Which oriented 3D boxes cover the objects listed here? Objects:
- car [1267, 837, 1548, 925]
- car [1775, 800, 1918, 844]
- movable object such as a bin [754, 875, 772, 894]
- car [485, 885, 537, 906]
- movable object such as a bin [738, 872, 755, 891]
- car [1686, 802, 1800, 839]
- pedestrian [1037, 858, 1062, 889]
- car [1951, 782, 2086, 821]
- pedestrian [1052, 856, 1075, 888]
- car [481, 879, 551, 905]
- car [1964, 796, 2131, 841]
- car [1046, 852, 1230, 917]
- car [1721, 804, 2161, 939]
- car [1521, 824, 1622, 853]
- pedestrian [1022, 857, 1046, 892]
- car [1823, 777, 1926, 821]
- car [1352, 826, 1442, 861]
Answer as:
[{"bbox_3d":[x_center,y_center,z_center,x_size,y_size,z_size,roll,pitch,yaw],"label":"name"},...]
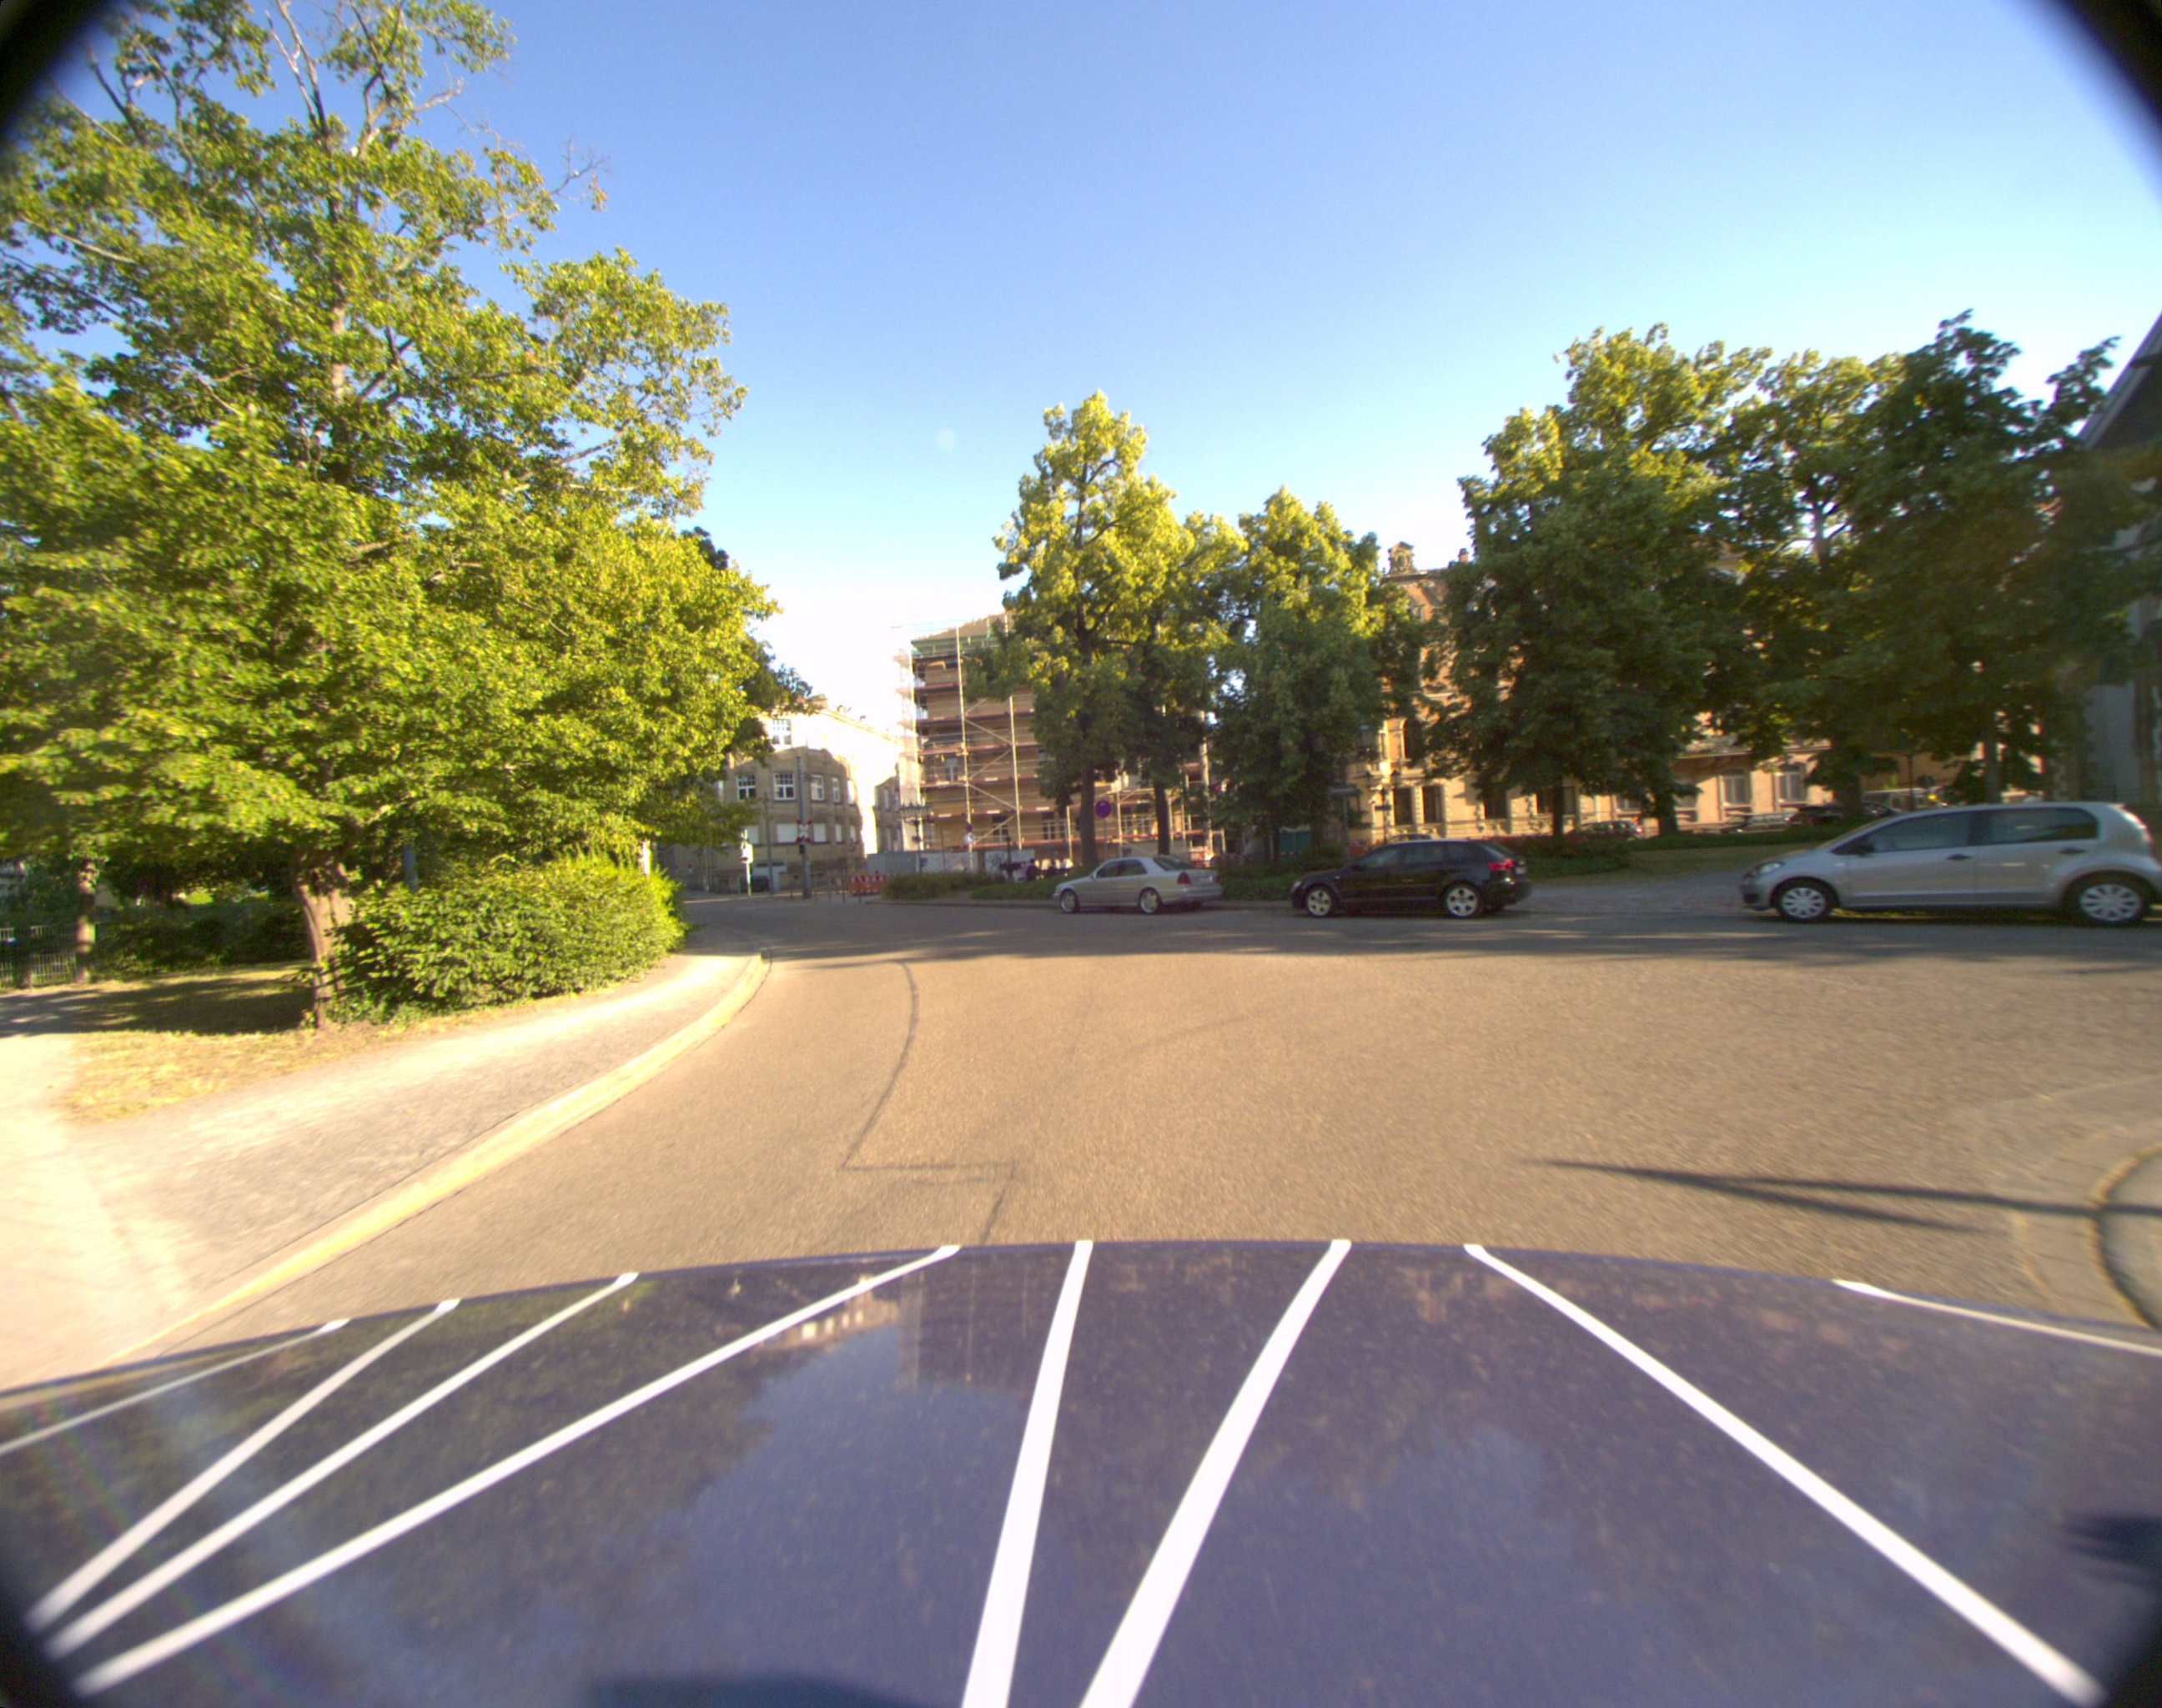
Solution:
[{"bbox_3d":[6.022,0.523,14.379,4.483,1.407,1.834,-3,-1,43],"label":"car"},{"bbox_3d":[33.946,-1.380,33.812,4.215,1.646,1.892,-3,1,5],"label":"car"},{"bbox_3d":[-25.768,2.449,61.528,1.188,1.420,1.918,-4,0,-25],"label":"movable object such as a bin"},{"bbox_3d":[-48.151,3.483,64.246,3.413,1.622,1.675,-2,-1,-34],"label":"car"},{"bbox_3d":[-27.287,2.241,61.980,1.151,1.477,1.624,-4,0,-25],"label":"movable object such as a bin"},{"bbox_3d":[35.668,-1.780,41.017,4.215,1.646,2.001,-4,1,6],"label":"car"},{"bbox_3d":[-1.239,0.778,29.996,0.553,1.188,0.882,-4,1,-31],"label":"pedestrian"},{"bbox_3d":[48.550,-2.681,39.420,4.215,1.646,2.001,-4,1,6],"label":"car"},{"bbox_3d":[-0.684,0.727,30.204,0.553,1.226,0.723,-4,1,-31],"label":"pedestrian"},{"bbox_3d":[-49.573,3.313,66.716,4.820,1.986,2.076,-1,-1,-38],"label":"car"},{"bbox_3d":[41.806,-1.508,32.983,4.213,1.646,1.893,-3,1,12],"label":"car"},{"bbox_3d":[1.310,0.770,19.106,1.789,1.407,4.486,-1,-1,-44],"label":"car"},{"bbox_3d":[10.743,0.248,9.871,3.596,1.432,1.621,-3,-1,43],"label":"car"},{"bbox_3d":[26.997,-0.833,41.929,4.215,1.270,1.913,-4,1,6],"label":"car"},{"bbox_3d":[-1.839,0.795,29.481,0.553,1.290,0.764,-4,1,-31],"label":"pedestrian"},{"bbox_3d":[47.129,-3.188,45.274,1.889,2.248,4.221,-3,0,5],"label":"car"},{"bbox_3d":[17.598,-0.594,42.530,4.215,1.646,1.913,-4,1,6],"label":"car"}]
